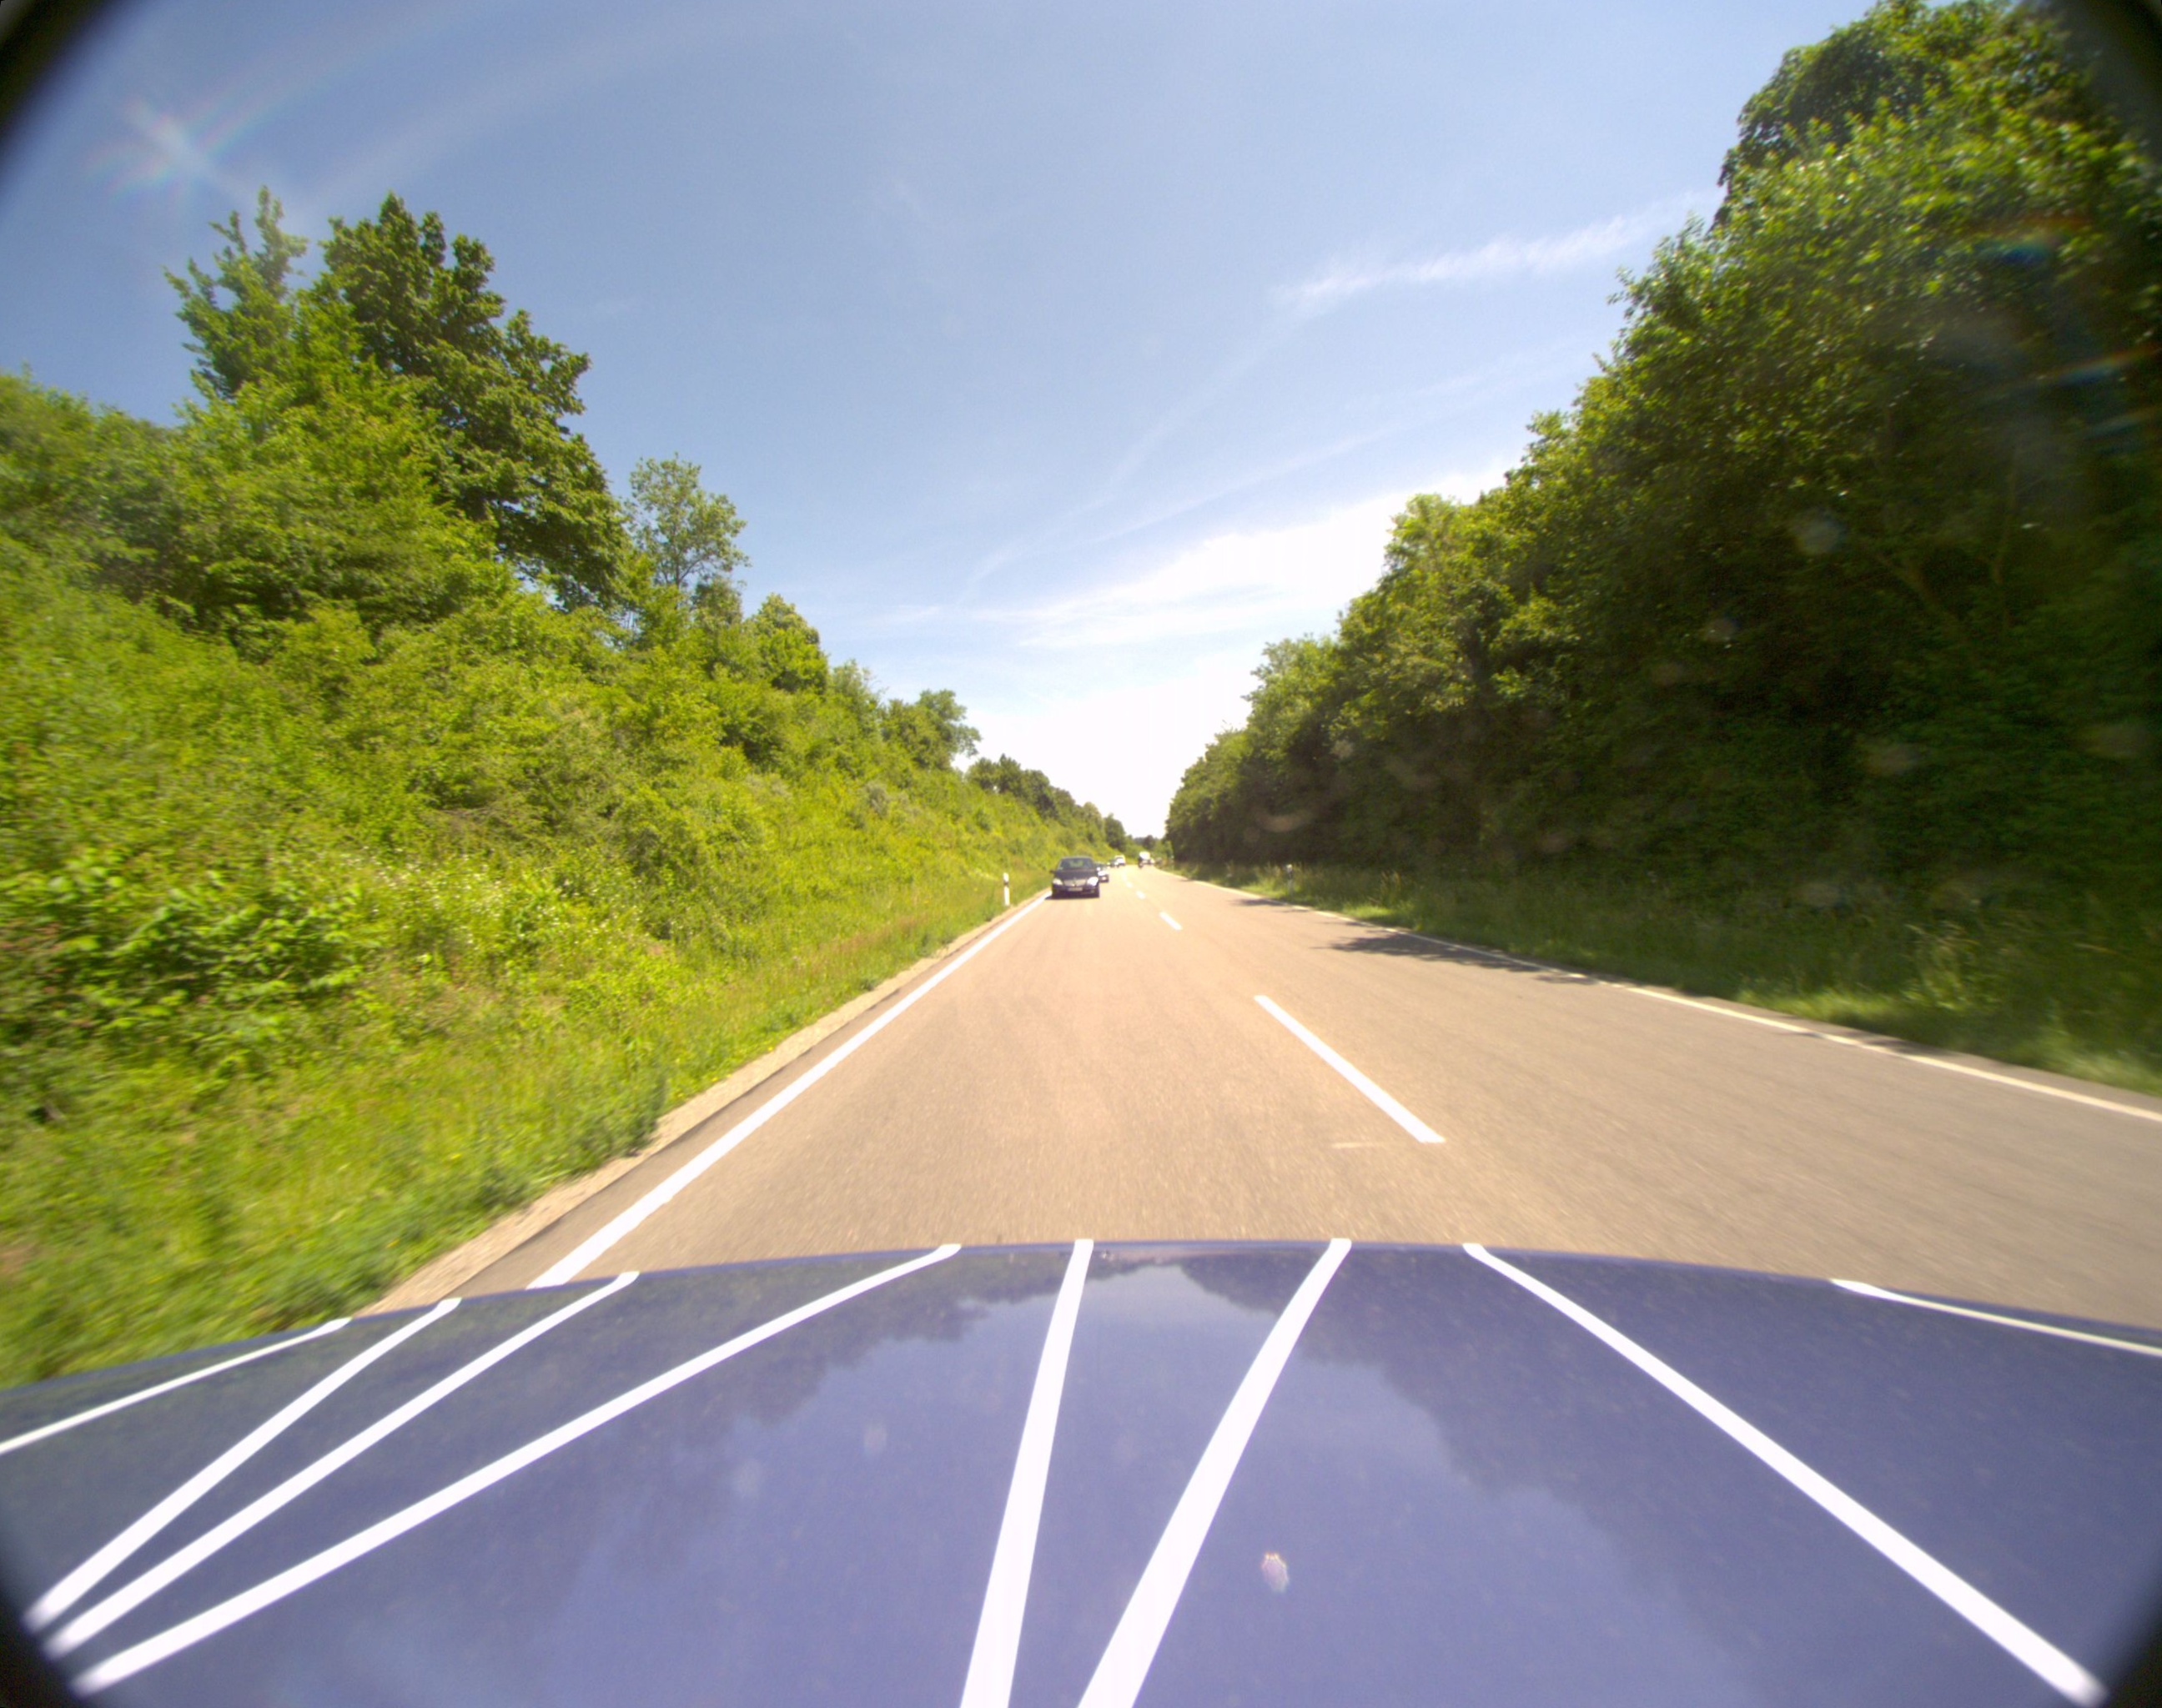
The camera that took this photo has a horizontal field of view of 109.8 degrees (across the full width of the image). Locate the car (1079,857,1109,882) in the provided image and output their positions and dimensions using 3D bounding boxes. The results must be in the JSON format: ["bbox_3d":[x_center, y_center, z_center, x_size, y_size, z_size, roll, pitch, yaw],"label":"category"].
[{"bbox_3d":[0.888,0.940,47.805,1.709,1.444,5.415,-2,0,3],"label":"car"}]

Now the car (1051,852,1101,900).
[{"bbox_3d":[-0.130,0.804,29.963,1.783,1.676,4.779,-2,0,1],"label":"car"}]

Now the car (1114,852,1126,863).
[{"bbox_3d":[7.081,0.611,138.601,1.998,2.002,4.001,-2,0,5],"label":"car"}]

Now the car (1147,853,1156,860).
[{"bbox_3d":[14.177,0.475,153.100,1.681,1.452,4.760,-2,0,3],"label":"car"}]

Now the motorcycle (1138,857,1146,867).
[{"bbox_3d":[7.716,1.015,96.404,0.866,1.214,2.443,-1,0,3],"label":"motorcycle"}]

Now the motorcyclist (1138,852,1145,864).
[{"bbox_3d":[7.698,0.490,96.343,0.851,1.429,1.074,-1,0,3],"label":"motorcyclist"}]

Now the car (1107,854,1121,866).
[{"bbox_3d":[5.035,0.848,116.334,2.045,1.743,4.167,-2,0,2],"label":"car"}]
